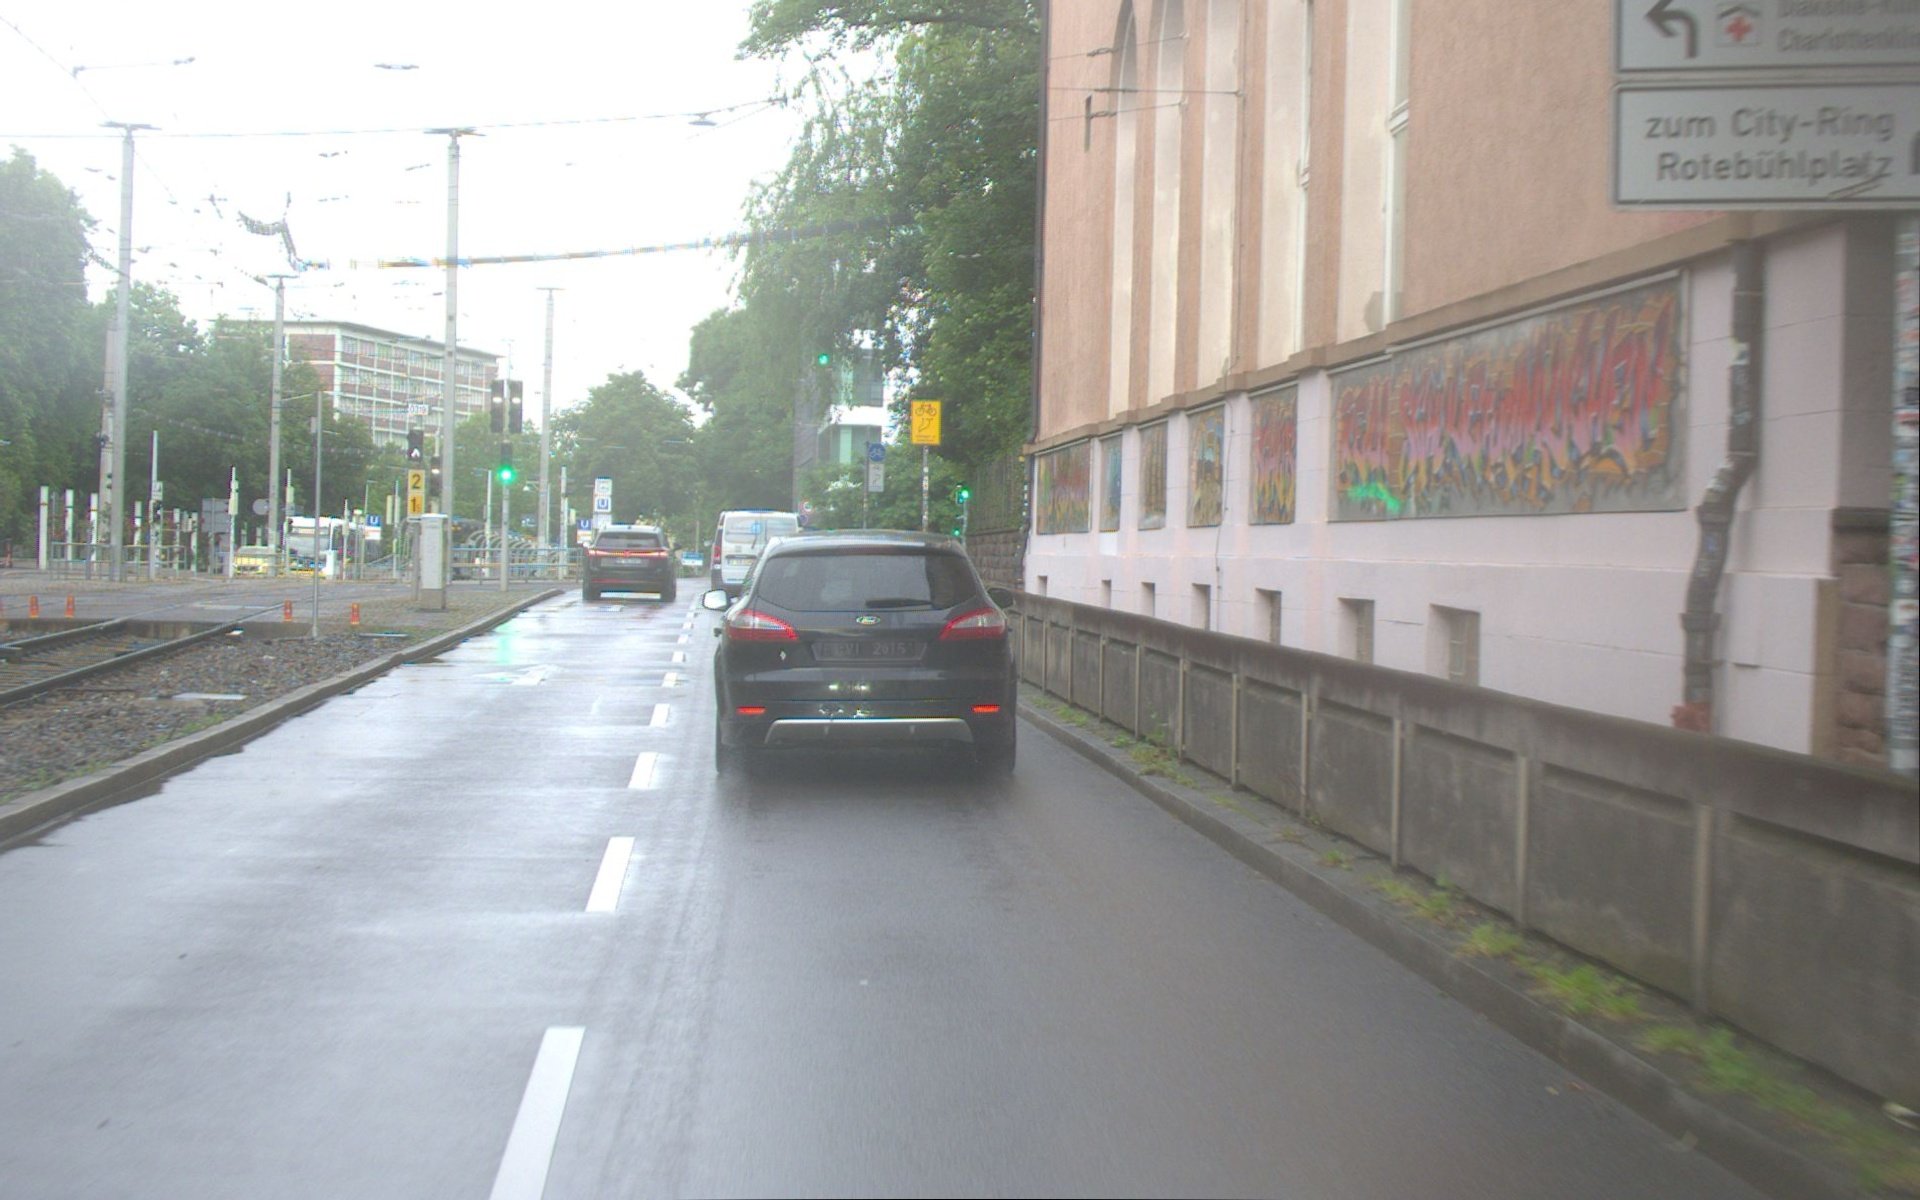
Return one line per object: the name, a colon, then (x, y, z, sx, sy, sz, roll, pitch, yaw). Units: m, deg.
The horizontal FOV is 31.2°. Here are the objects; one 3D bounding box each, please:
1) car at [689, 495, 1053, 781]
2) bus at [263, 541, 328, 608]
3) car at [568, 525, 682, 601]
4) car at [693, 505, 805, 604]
car: (-0.649, 0.175, 21.840, 2.035, 1.579, 4.393, 2, 1, -4)
bus: (-33.845, -1.325, 175.401, 3.076, 3.289, 12.526, 0, 1, -10)
car: (-6.841, -0.765, 70.592, 2.098, 1.500, 4.732, 0, 1, -3)
car: (-4.129, -0.918, 67.879, 2.035, 1.833, 4.393, 2, 1, -2)
